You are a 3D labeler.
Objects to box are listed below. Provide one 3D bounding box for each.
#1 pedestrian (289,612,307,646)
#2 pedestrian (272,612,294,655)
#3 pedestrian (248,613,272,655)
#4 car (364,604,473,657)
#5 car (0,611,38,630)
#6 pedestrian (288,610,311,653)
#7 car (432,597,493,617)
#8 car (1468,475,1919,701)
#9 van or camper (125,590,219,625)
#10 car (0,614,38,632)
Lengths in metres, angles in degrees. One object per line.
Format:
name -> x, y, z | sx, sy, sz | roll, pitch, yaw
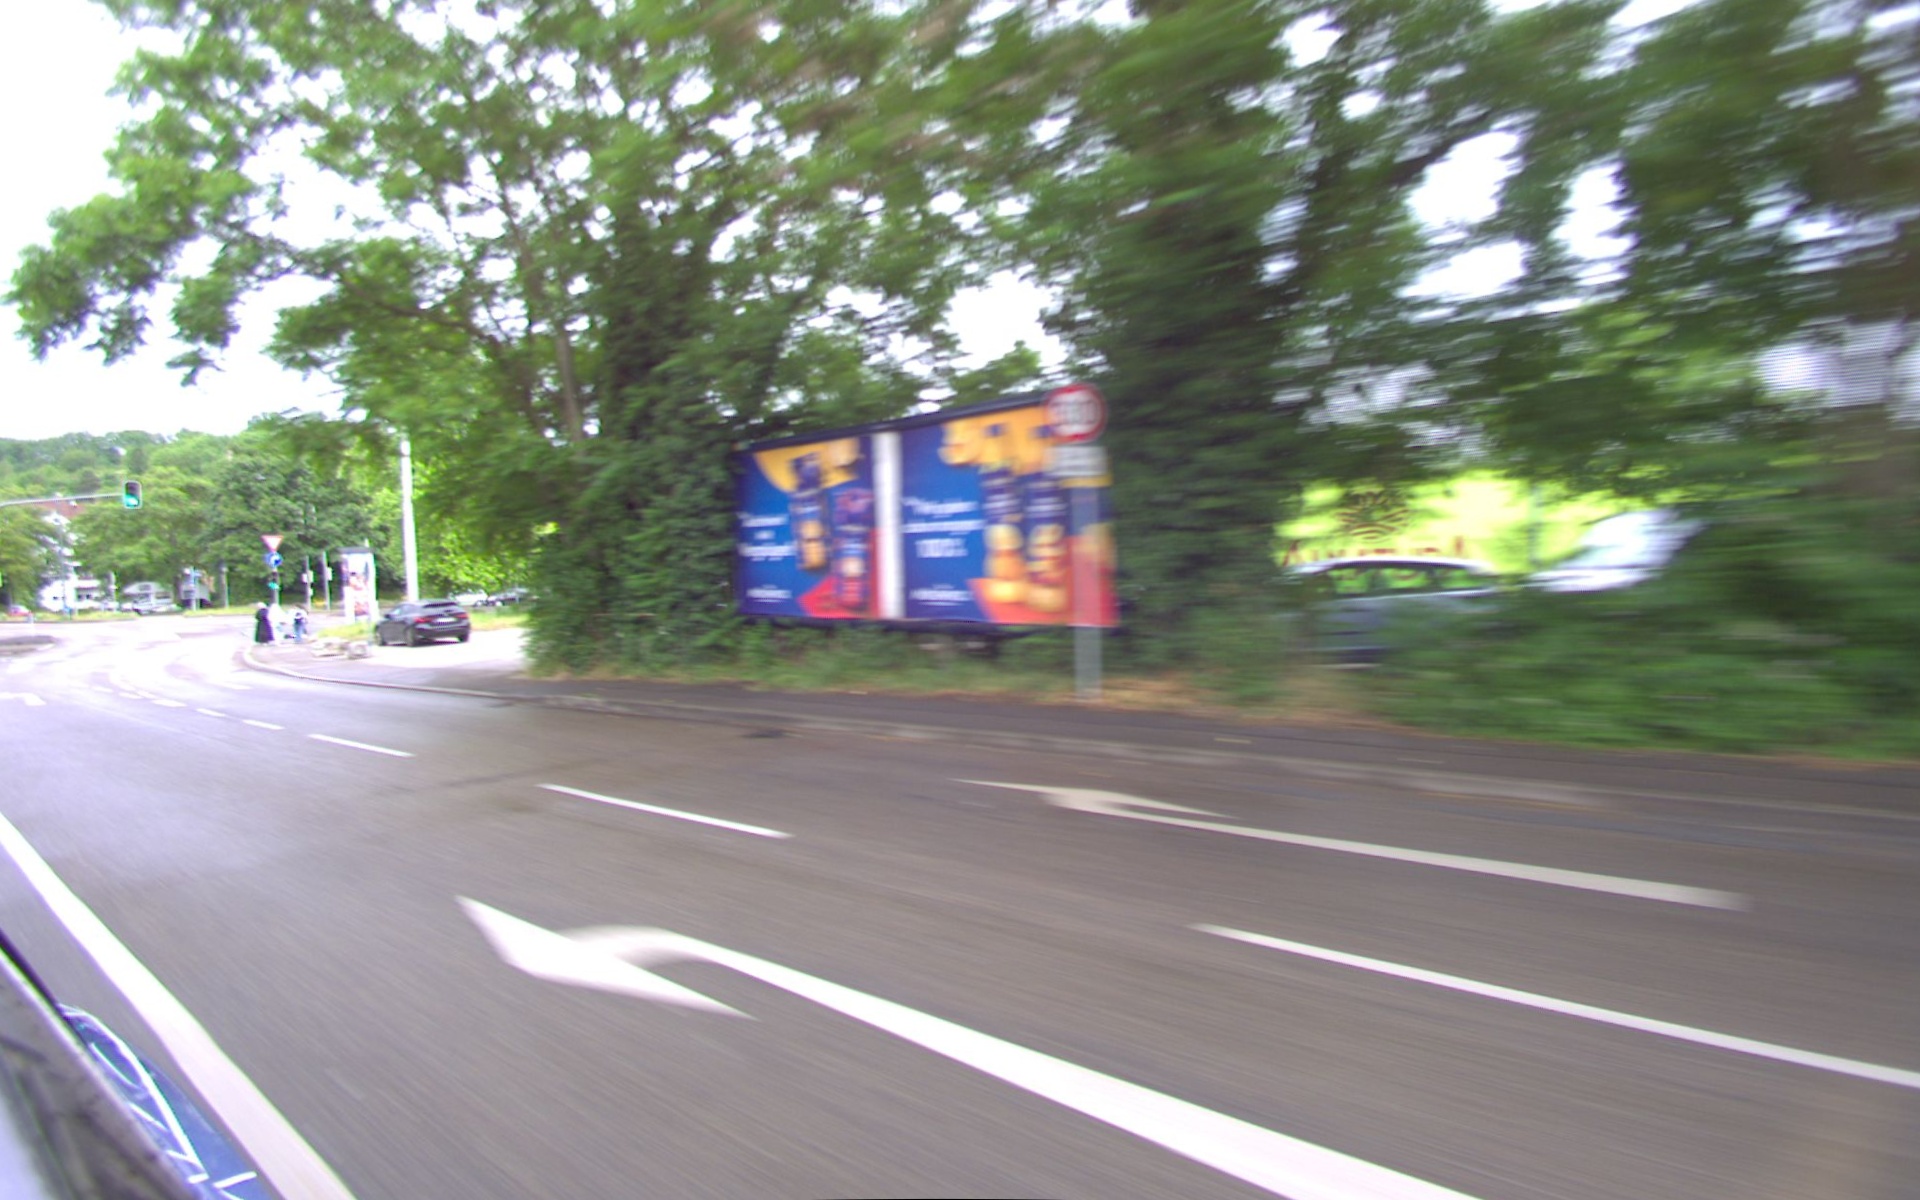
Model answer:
pedestrian -> -31.304, 1.383, 47.857 | 0.583, 1.543, 0.670 | -5, 2, -33
pedestrian -> -26.538, 1.318, 39.652 | 0.597, 1.613, 0.679 | -5, 2, -34
pedestrian -> -27.526, 1.330, 39.813 | 0.647, 1.613, 0.679 | -5, 2, -34
car -> -17.512, 0.955, 32.655 | 4.234, 1.459, 1.728 | -1, 3, 43
car -> -81.396, 1.755, 86.313 | 1.678, 1.560, 3.943 | 0, 1, 43
pedestrian -> -26.004, 1.233, 39.825 | 0.647, 1.613, 0.679 | -5, 2, -34
car -> -40.947, 0.548, 83.286 | 4.136, 1.460, 1.892 | -3, 1, -41
car -> 7.906, -0.184, 10.880 | 3.933, 1.951, 2.006 | -4, 2, -15
van or camper -> -69.903, 0.621, 89.814 | 6.336, 2.775, 2.433 | -2, 1, -44
car -> -80.085, 1.935, 84.903 | 1.678, 1.364, 3.943 | 0, 1, 43
